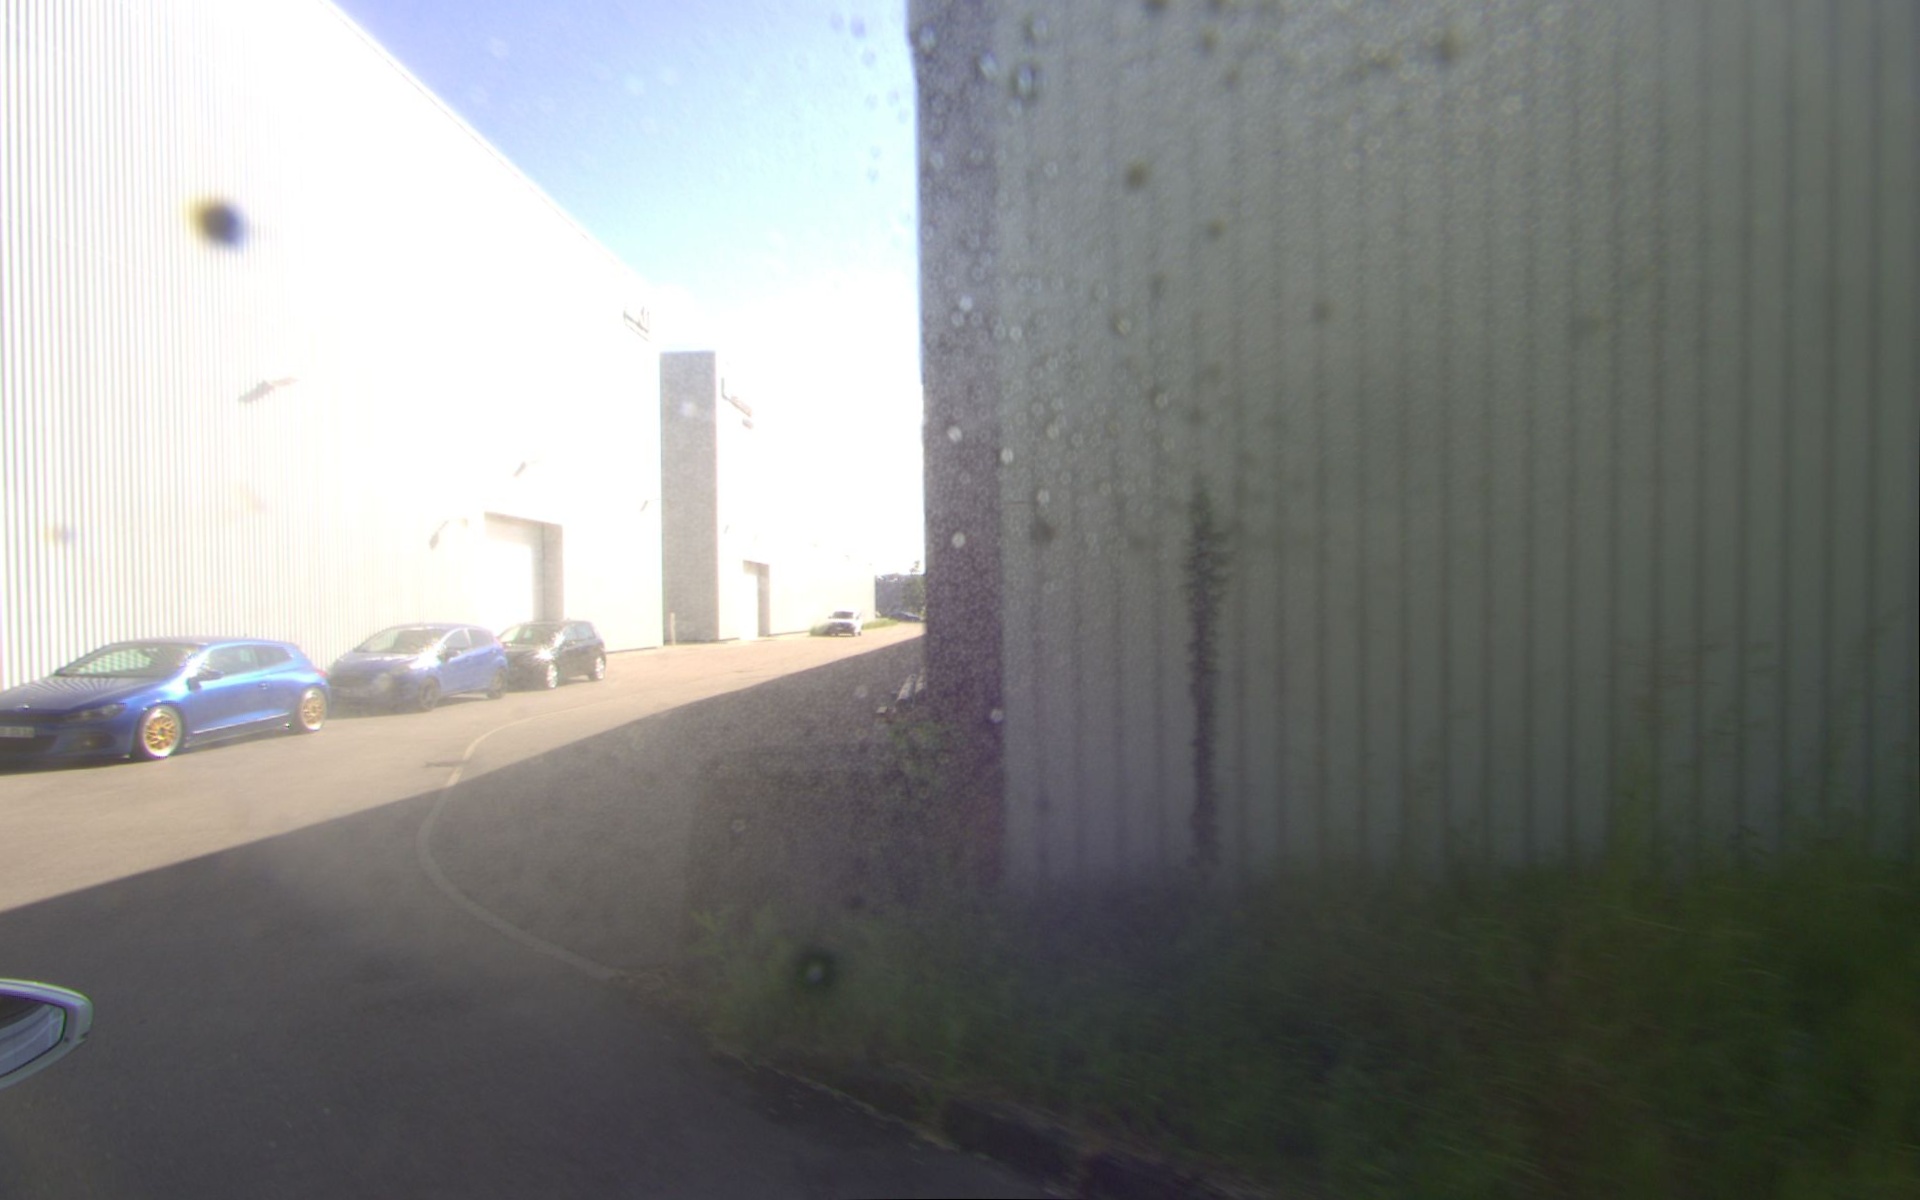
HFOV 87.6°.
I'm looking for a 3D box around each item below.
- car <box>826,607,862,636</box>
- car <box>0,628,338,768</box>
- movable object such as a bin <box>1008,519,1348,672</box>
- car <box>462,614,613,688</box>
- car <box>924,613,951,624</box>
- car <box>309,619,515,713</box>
[{"bbox_3d":[-7.584,1.401,65.807,1.877,1.817,4.000,-1,-1,1],"label":"car"},{"bbox_3d":[-9.858,1.086,12.493,1.641,1.367,3.954,1,-1,2],"label":"car"},{"bbox_3d":[4.521,-0.056,21.914,6.822,2.943,2.686,-2,0,3],"label":"movable object such as a bin"},{"bbox_3d":[-9.548,1.103,22.971,1.623,1.465,3.878,2,-1,3],"label":"car"},{"bbox_3d":[-3.335,2.727,146.718,3.822,1.481,1.623,-1,0,5],"label":"car"},{"bbox_3d":[-9.707,1.105,18.093,1.593,1.466,3.765,1,-1,1],"label":"car"}]
